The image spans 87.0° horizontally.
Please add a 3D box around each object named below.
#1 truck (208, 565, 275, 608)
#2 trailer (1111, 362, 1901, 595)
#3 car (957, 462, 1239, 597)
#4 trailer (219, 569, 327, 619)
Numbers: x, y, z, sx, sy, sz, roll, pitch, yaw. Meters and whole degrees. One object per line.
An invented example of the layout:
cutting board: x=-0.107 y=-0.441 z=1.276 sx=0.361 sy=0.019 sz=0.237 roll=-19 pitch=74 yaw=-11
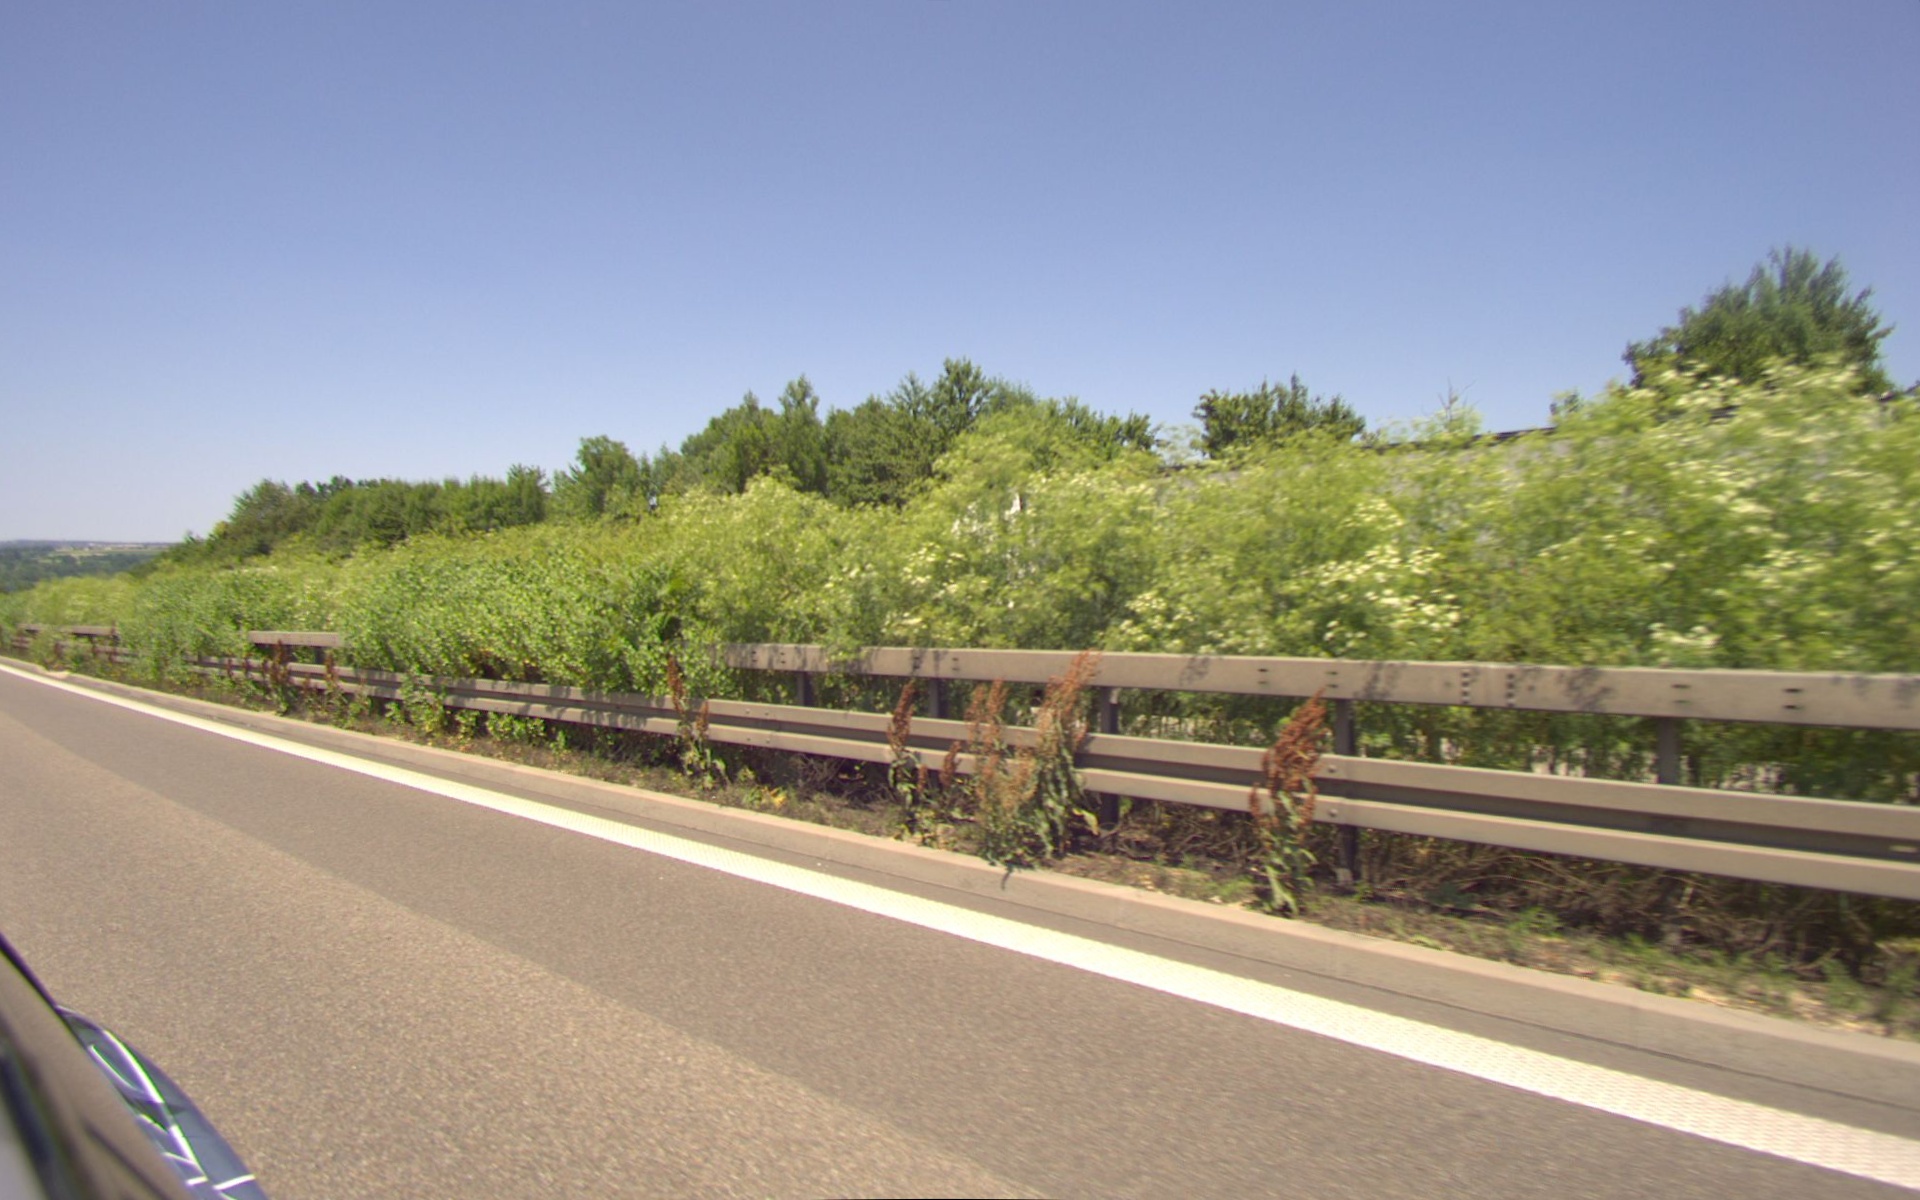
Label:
truck: x=-47.825 y=-0.839 z=67.305 sx=4.643 sy=2.769 sz=2.660 roll=-1 pitch=-1 yaw=41
trailer: x=8.148 y=-1.535 z=17.260 sx=11.398 sy=2.730 sz=2.541 roll=-1 pitch=-1 yaw=40
car: x=2.862 y=-1.335 z=21.776 sx=5.508 sy=2.470 sz=2.544 roll=-1 pitch=-1 yaw=40
trailer: x=-42.791 y=-0.291 z=62.813 sx=12.310 sy=2.822 sz=2.645 roll=-1 pitch=-1 yaw=42
